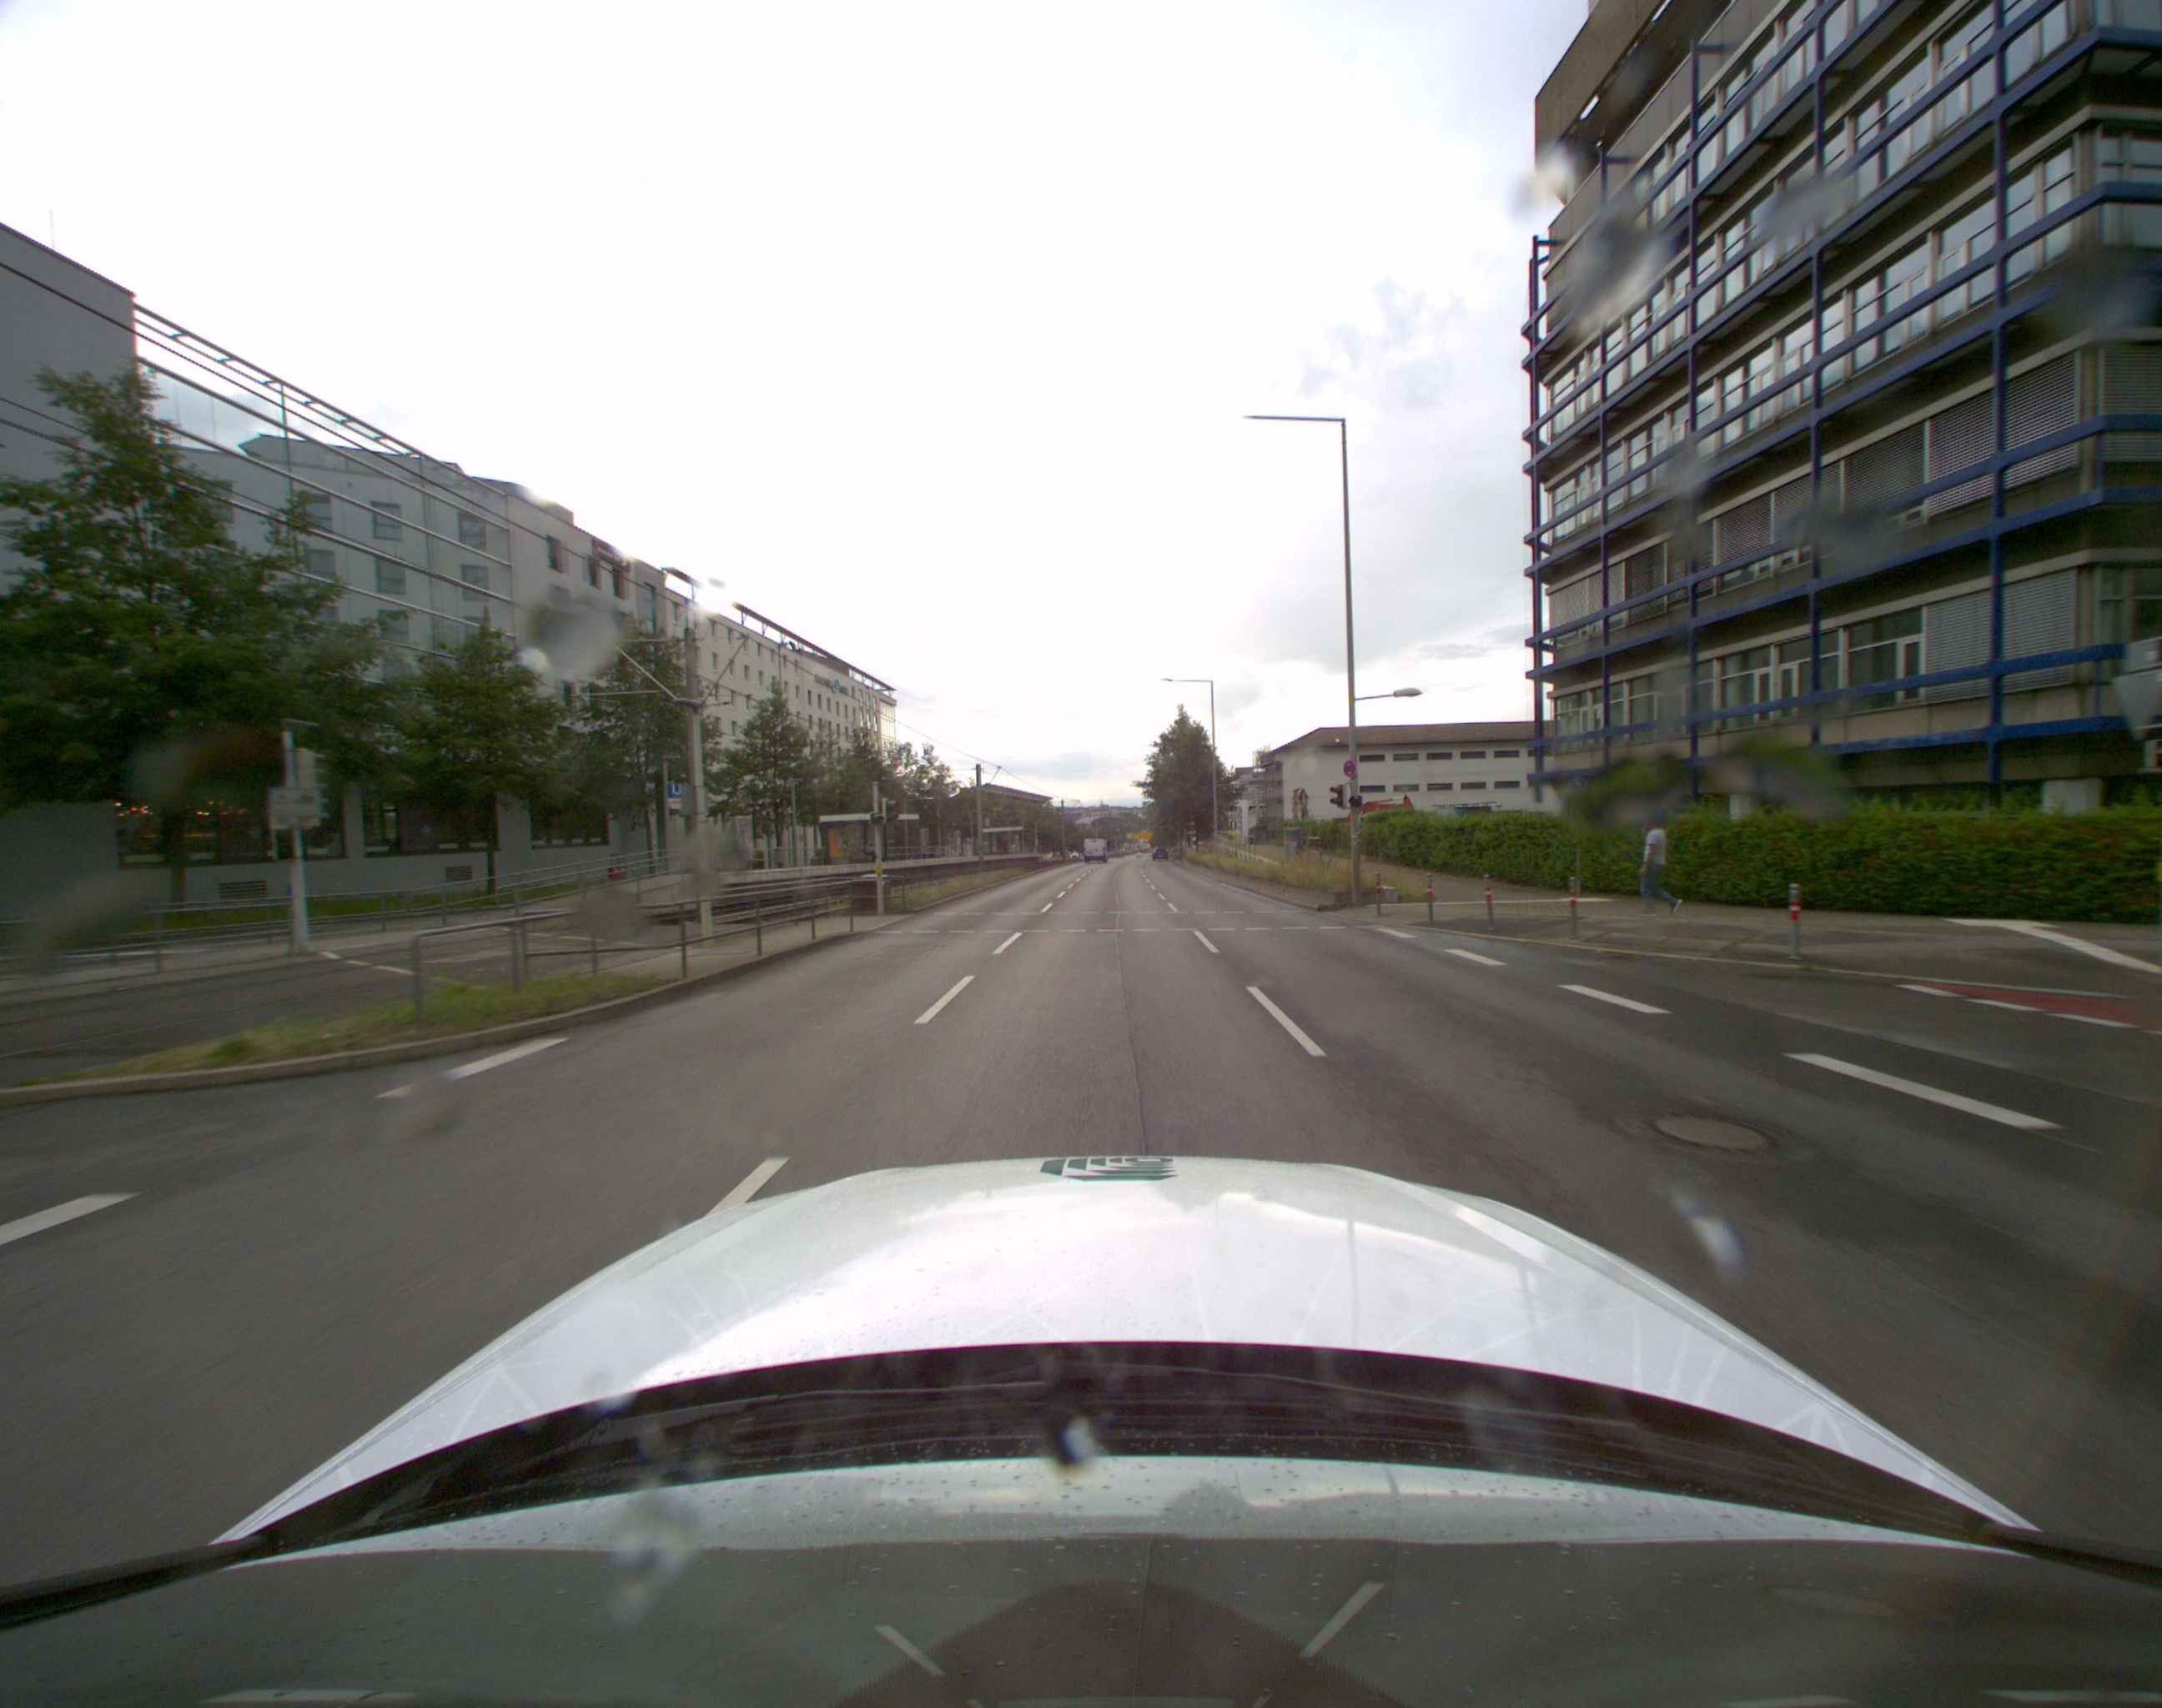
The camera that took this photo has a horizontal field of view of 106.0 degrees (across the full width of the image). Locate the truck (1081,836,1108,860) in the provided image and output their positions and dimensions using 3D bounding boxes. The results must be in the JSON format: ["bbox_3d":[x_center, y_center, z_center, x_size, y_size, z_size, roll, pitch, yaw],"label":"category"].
[{"bbox_3d":[1.376,-0.571,79.726,2.350,2.262,5.311,0,0,3],"label":"truck"}]

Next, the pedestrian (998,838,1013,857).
[{"bbox_3d":[-8.078,-0.708,87.064,1.259,2.013,1.133,0,0,9],"label":"pedestrian"}]

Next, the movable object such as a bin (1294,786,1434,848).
[{"bbox_3d":[27.212,-3.504,78.930,12.092,5.261,3.792,-2,0,2],"label":"movable object such as a bin"}]

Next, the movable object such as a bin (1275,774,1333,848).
[{"bbox_3d":[18.567,-3.407,68.380,3.274,5.684,8.777,0,0,5],"label":"movable object such as a bin"}]

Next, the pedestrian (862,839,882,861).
[{"bbox_3d":[-12.564,-0.232,49.049,0.957,1.300,0.685,-2,1,3],"label":"pedestrian"}]

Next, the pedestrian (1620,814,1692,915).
[{"bbox_3d":[9.775,0.165,13.861,0.553,1.652,0.830,-2,0,-7],"label":"pedestrian"}]

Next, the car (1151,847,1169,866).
[{"bbox_3d":[8.820,0.259,91.237,1.984,2.013,3.940,0,0,5],"label":"car"}]

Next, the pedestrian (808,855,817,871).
[{"bbox_3d":[-25.888,0.845,78.508,0.597,1.578,0.836,0,0,4],"label":"pedestrian"}]

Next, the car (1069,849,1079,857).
[{"bbox_3d":[-1.658,-0.247,208.607,1.984,1.847,5.009,-3,0,5],"label":"car"}]

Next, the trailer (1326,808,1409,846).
[{"bbox_3d":[24.272,-2.216,69.461,2.646,3.042,7.449,0,0,-19],"label":"trailer"}]
